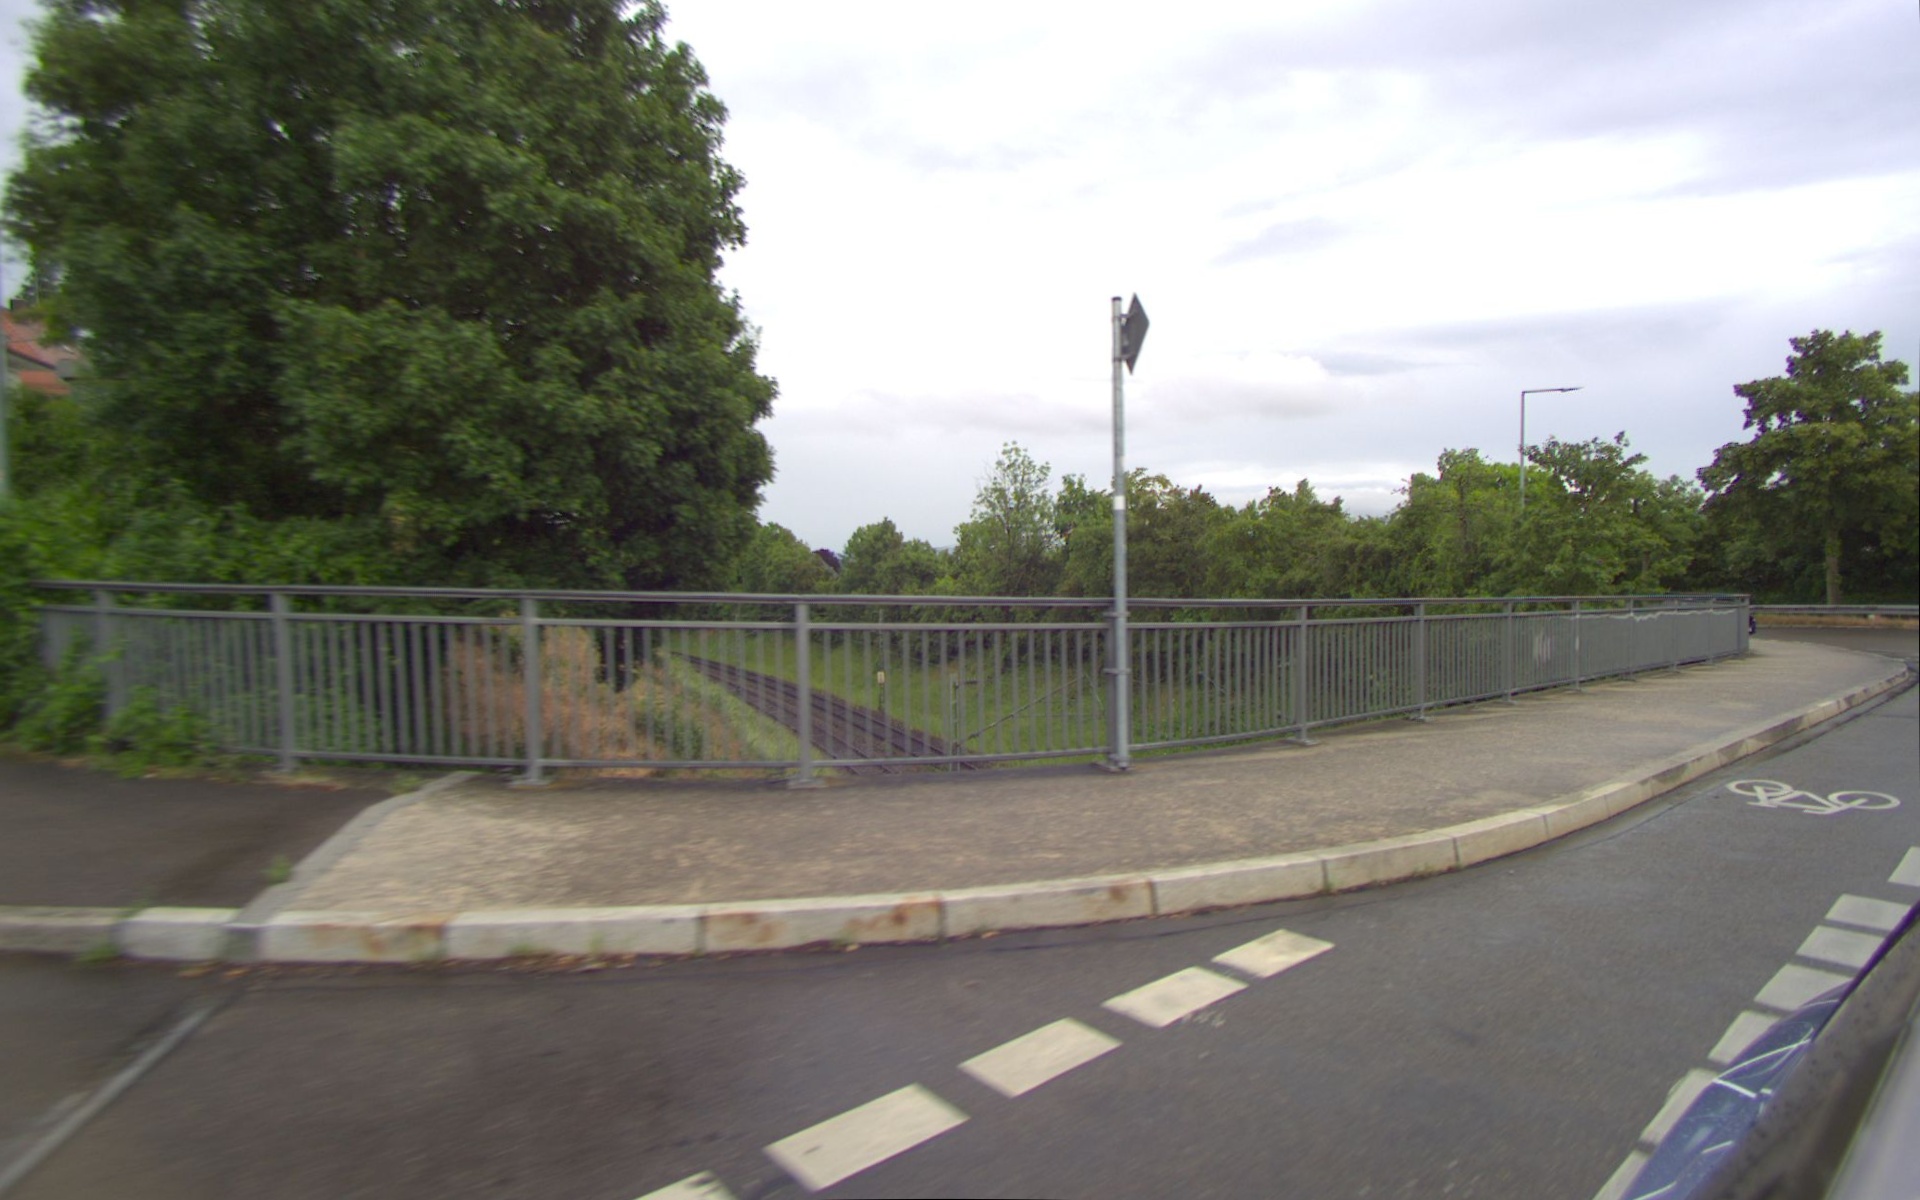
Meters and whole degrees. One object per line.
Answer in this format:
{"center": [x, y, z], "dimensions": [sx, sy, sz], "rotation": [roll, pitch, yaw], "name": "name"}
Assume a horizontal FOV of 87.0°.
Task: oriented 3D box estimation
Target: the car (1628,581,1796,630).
{"center": [25.205, 0.123, 34.130], "dimensions": [1.730, 1.472, 4.409], "rotation": [2, 1, -13], "name": "car"}
